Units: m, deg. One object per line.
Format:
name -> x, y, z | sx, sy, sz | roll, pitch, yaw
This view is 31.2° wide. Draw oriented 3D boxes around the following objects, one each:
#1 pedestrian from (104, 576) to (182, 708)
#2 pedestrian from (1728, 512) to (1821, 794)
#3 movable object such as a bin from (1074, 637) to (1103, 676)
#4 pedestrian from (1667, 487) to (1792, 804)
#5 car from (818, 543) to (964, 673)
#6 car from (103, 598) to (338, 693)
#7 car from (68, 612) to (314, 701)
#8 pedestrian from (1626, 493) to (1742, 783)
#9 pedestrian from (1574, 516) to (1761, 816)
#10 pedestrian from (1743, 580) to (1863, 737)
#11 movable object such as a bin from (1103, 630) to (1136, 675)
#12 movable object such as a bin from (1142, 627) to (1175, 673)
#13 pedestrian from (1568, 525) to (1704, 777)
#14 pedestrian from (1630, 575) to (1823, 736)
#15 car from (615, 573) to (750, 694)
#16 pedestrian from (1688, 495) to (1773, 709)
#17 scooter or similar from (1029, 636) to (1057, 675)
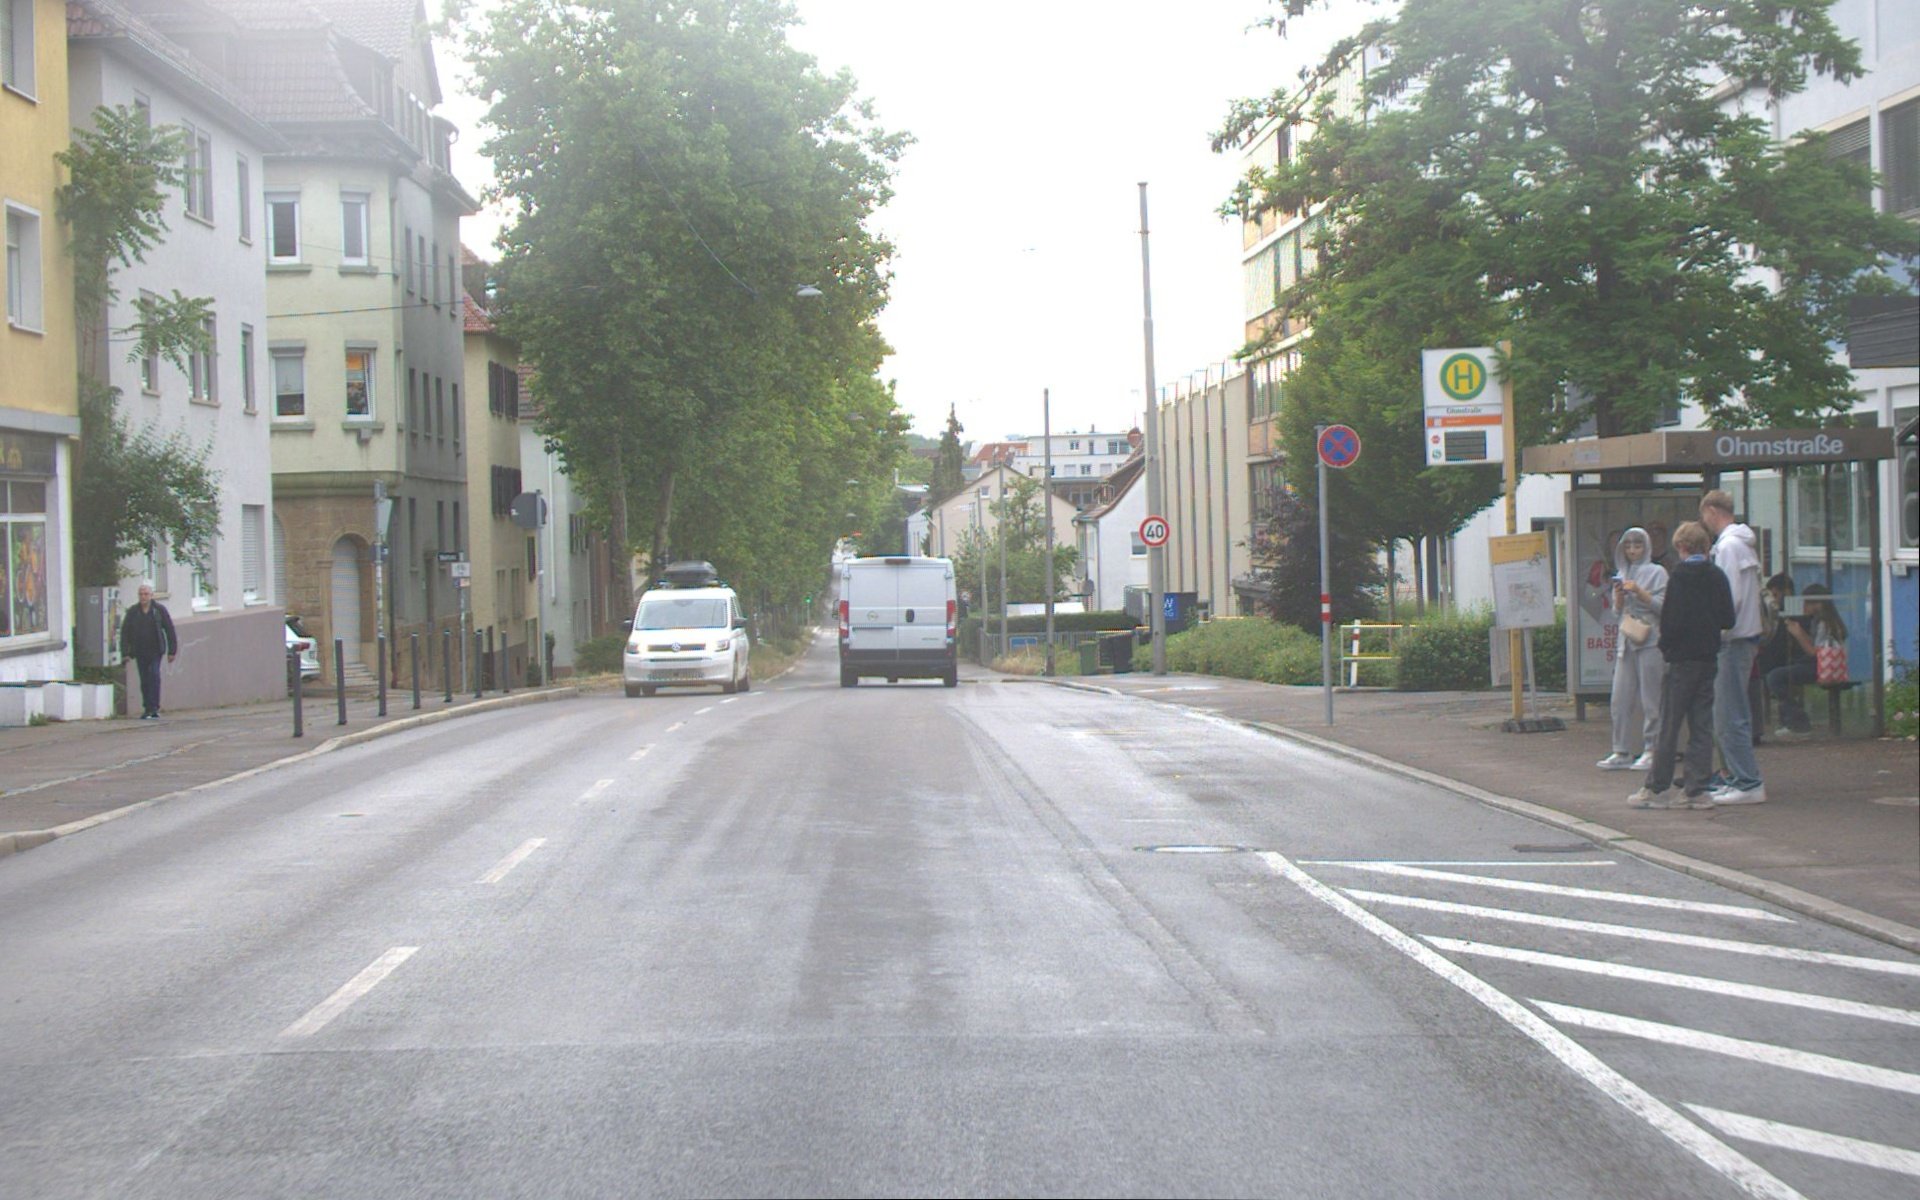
pedestrian -> -10.468, 0.541, 44.094 | 0.815, 1.674, 0.993 | 0, -1, -4
pedestrian -> 5.044, 0.320, 21.316 | 0.446, 1.702, 0.557 | -4, 0, 13
movable object such as a bin -> 3.179, 1.404, 85.194 | 0.619, 0.933, 0.686 | -4, -1, 0
pedestrian -> 4.654, 0.268, 20.785 | 0.487, 1.869, 0.632 | -4, 0, 26
car -> -1.266, 0.098, 60.625 | 2.346, 2.153, 4.778 | -1, 1, -3
car -> -14.564, 0.888, 67.872 | 4.182, 1.698, 2.000 | 2, 0, -1
car -> -13.895, 1.004, 62.270 | 3.986, 1.448, 2.000 | 2, 0, -2
pedestrian -> 4.710, 0.245, 22.374 | 0.459, 1.834, 0.605 | -4, 0, -6
pedestrian -> 4.181, 0.388, 20.343 | 0.634, 1.704, 0.749 | -4, 0, -35
pedestrian -> 6.663, 0.456, 27.196 | 0.660, 1.195, 0.742 | -2, 0, -6
movable object such as a bin -> 3.958, 1.297, 85.365 | 0.695, 1.078, 0.778 | -4, -1, 0
movable object such as a bin -> 4.934, 1.240, 85.433 | 0.695, 1.078, 0.778 | -4, -1, 0
pedestrian -> 4.794, 0.354, 24.412 | 0.660, 1.735, 0.829 | -2, 0, -6
pedestrian -> 6.395, 0.459, 28.727 | 1.355, 1.269, 0.742 | -2, 0, -6
car -> -4.532, 0.545, 56.623 | 1.882, 1.863, 4.453 | -2, 0, -1
pedestrian -> 6.733, 0.013, 30.041 | 0.647, 1.825, 0.741 | -2, 0, 13
scooter or similar -> 2.515, 1.673, 104.085 | 0.605, 1.158, 1.700 | -1, -1, -6
